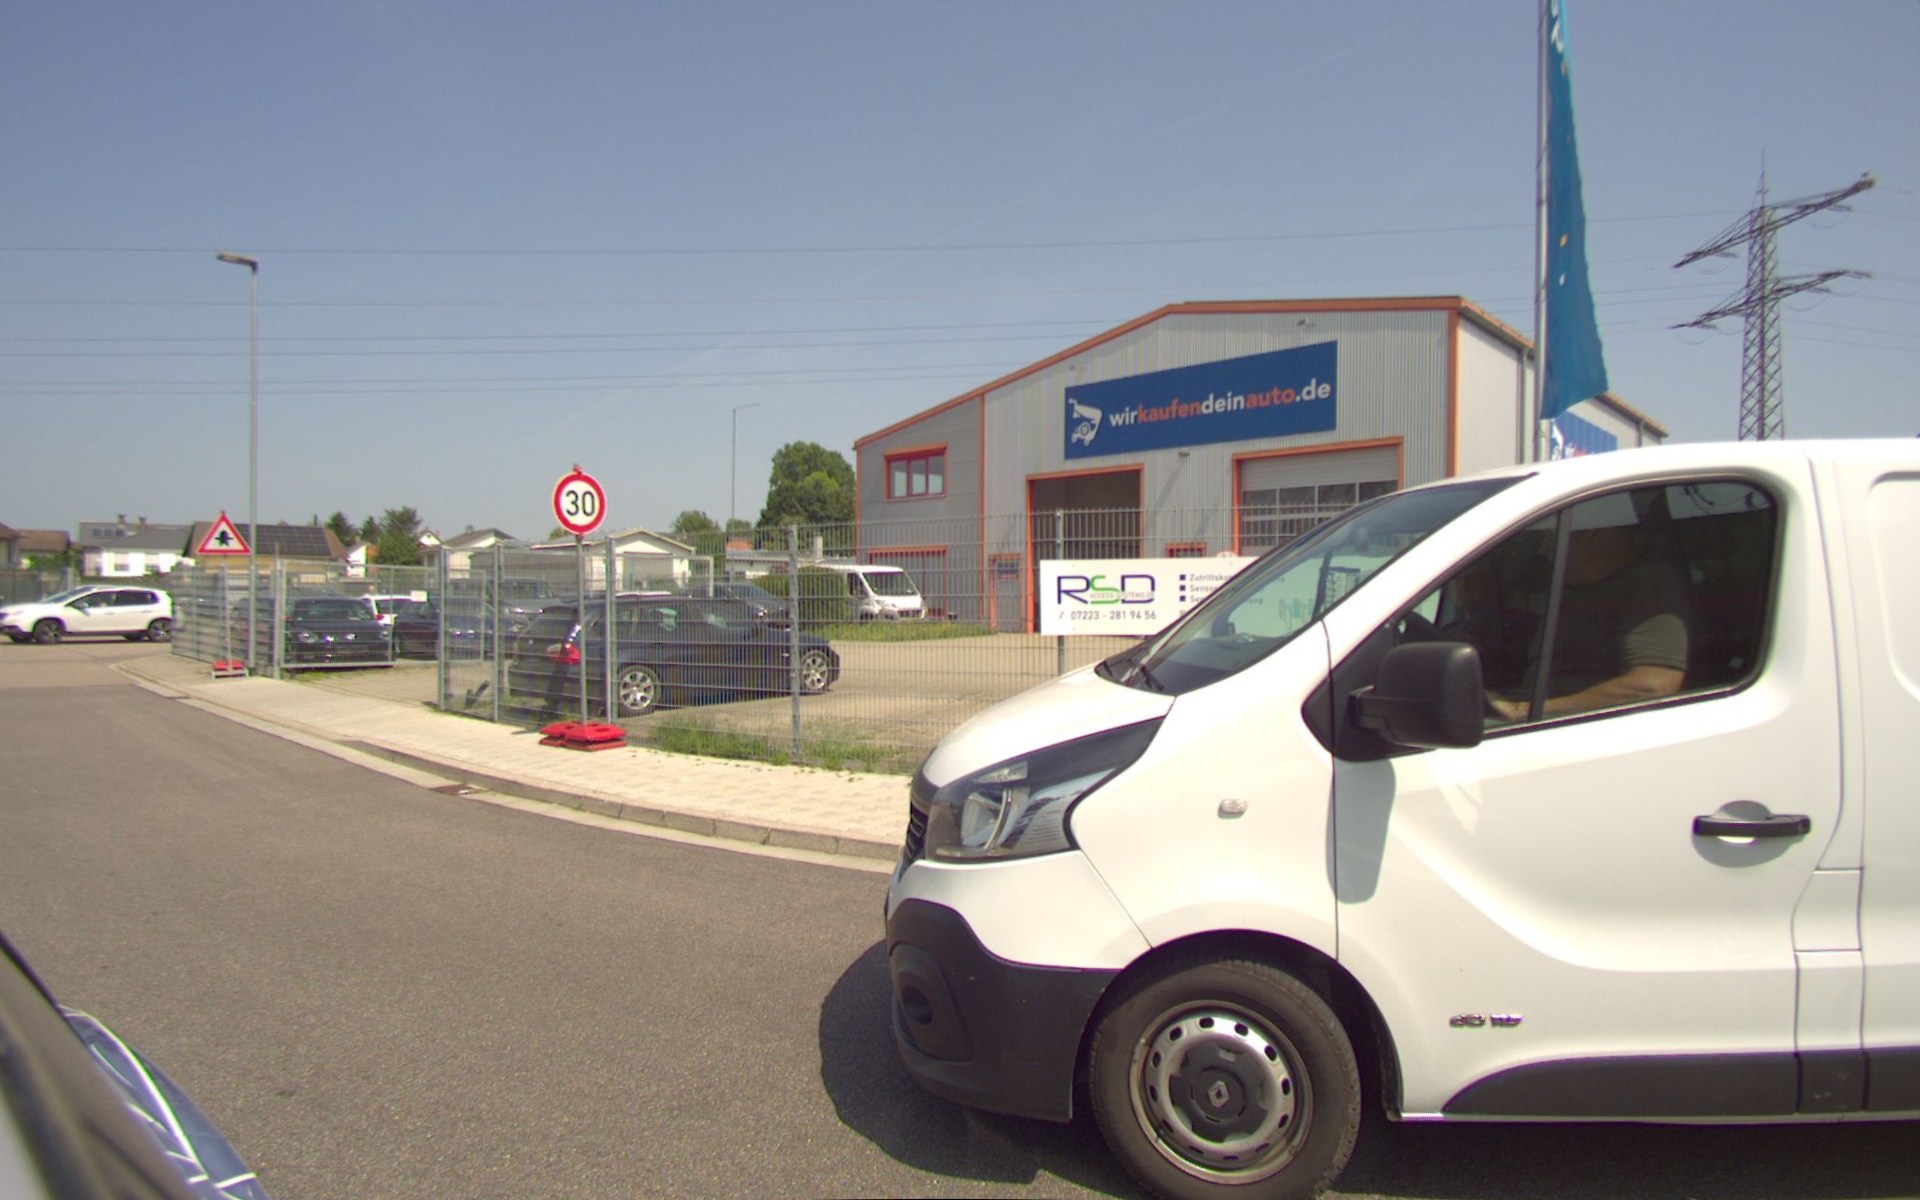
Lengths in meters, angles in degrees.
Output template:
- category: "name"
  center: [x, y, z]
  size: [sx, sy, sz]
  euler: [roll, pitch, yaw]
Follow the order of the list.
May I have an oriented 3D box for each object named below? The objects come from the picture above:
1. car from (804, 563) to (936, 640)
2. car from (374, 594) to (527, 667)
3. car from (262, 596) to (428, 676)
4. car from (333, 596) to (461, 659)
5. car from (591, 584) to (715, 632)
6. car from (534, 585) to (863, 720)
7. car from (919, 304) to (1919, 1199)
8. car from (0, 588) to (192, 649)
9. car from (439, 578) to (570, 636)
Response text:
- category: "car"
  center: [-2.845, 0.054, 31.273]
  size: [1.968, 2.212, 4.330]
  euler: [-1, 0, -39]
- category: "car"
  center: [-11.788, 0.655, 23.330]
  size: [3.807, 1.514, 1.752]
  euler: [-1, 0, 39]
- category: "car"
  center: [-12.978, 0.695, 21.277]
  size: [3.996, 1.514, 1.752]
  euler: [-1, 0, 39]
- category: "car"
  center: [-14.865, 0.670, 26.647]
  size: [4.000, 1.514, 1.750]
  euler: [-1, 0, 42]
- category: "car"
  center: [-9.834, 0.245, 32.291]
  size: [4.199, 1.431, 1.872]
  euler: [-1, 0, 42]
- category: "car"
  center: [-3.373, 0.581, 13.578]
  size: [1.775, 1.514, 3.943]
  euler: [-1, 0, 43]
- category: "car"
  center: [2.299, 0.410, 3.205]
  size: [4.747, 2.076, 2.008]
  euler: [0, -2, 1]
- category: "car"
  center: [-23.605, 0.447, 27.402]
  size: [1.768, 1.514, 4.119]
  euler: [-1, 0, 31]
- category: "car"
  center: [-12.871, 0.189, 28.514]
  size: [3.996, 1.514, 1.752]
  euler: [-1, 0, 39]
